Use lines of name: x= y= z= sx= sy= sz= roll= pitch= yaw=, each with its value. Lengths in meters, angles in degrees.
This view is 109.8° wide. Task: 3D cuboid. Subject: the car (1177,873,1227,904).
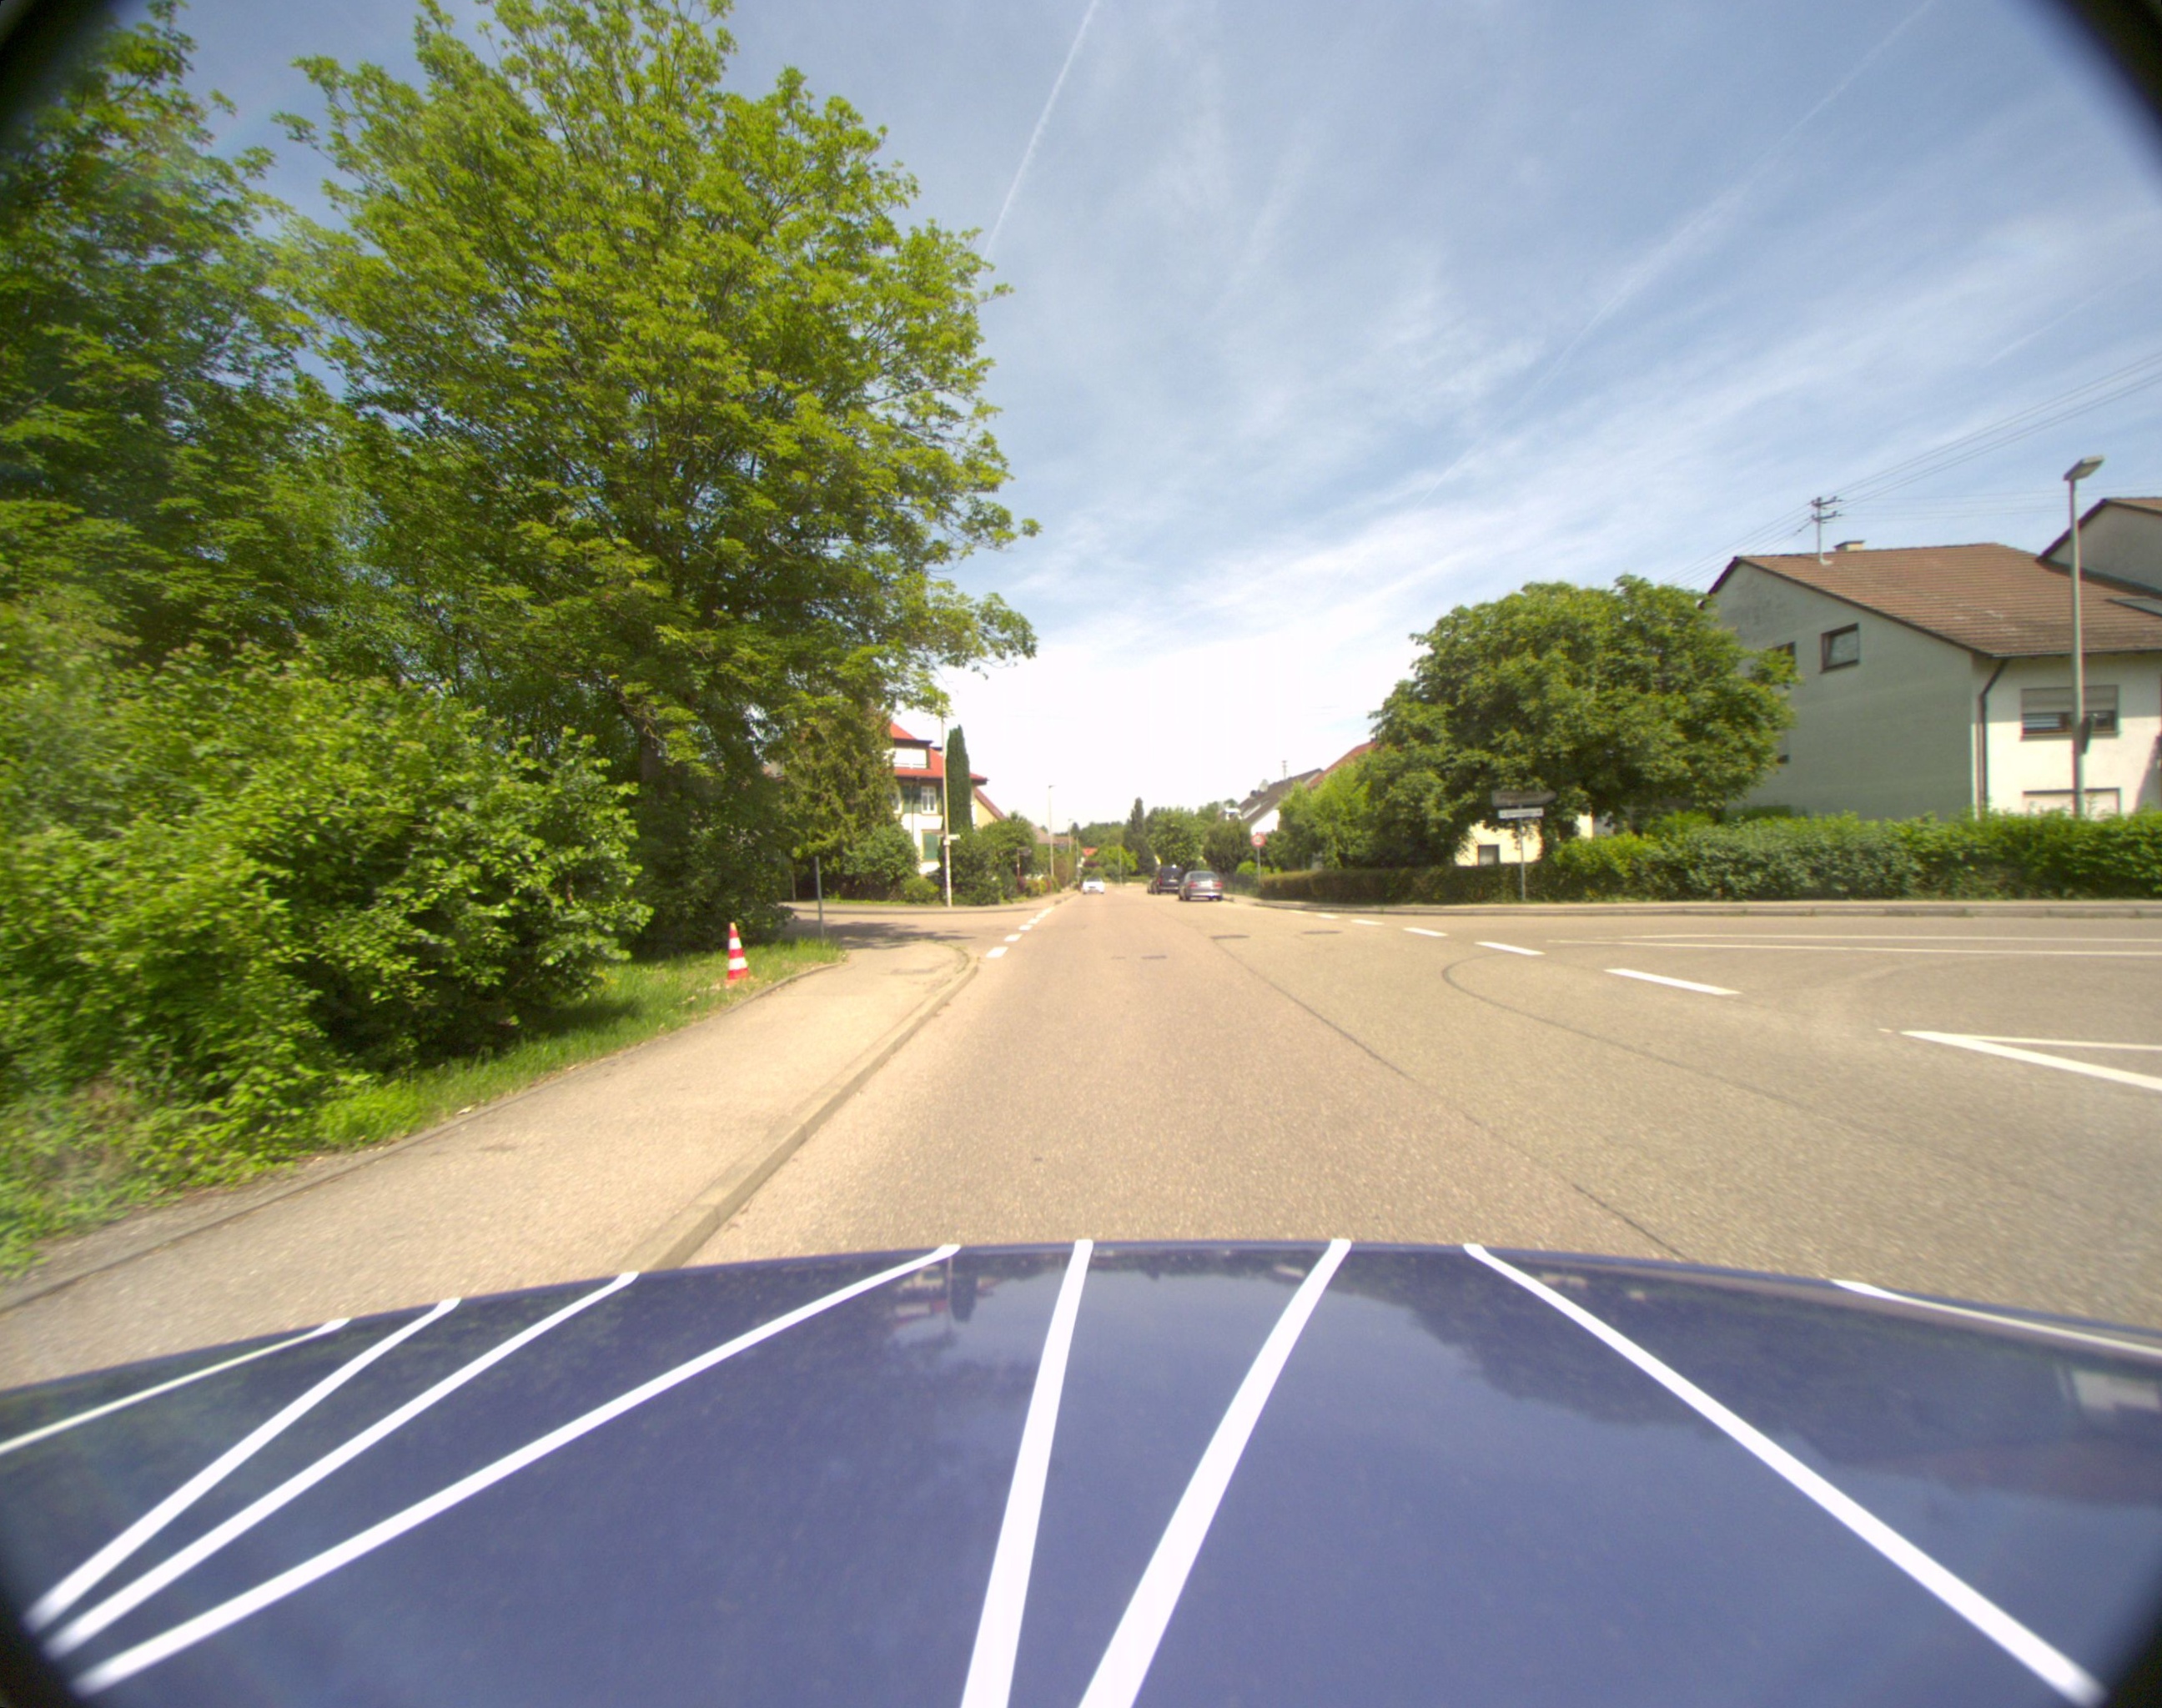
car: x=5.718 y=1.608 z=36.243 sx=1.784 sy=1.386 sz=4.411 roll=0 pitch=-1 yaw=2

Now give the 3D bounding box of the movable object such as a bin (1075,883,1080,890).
movable object such as a bin: x=-0.458 y=4.594 z=107.745 sx=0.589 sy=1.052 sz=0.920 roll=0 pitch=-2 yaw=4

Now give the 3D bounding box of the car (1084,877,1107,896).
car: x=1.212 y=2.736 z=65.282 sx=1.826 sy=1.542 sz=4.001 roll=-1 pitch=-2 yaw=-1

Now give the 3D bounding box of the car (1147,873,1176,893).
car: x=6.450 y=2.344 z=61.120 sx=1.816 sy=1.540 sz=4.244 roll=-1 pitch=-3 yaw=-1

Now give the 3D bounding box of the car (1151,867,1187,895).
car: x=6.120 y=1.855 z=53.229 sx=1.901 sy=1.908 sz=4.871 roll=0 pitch=-1 yaw=-1
